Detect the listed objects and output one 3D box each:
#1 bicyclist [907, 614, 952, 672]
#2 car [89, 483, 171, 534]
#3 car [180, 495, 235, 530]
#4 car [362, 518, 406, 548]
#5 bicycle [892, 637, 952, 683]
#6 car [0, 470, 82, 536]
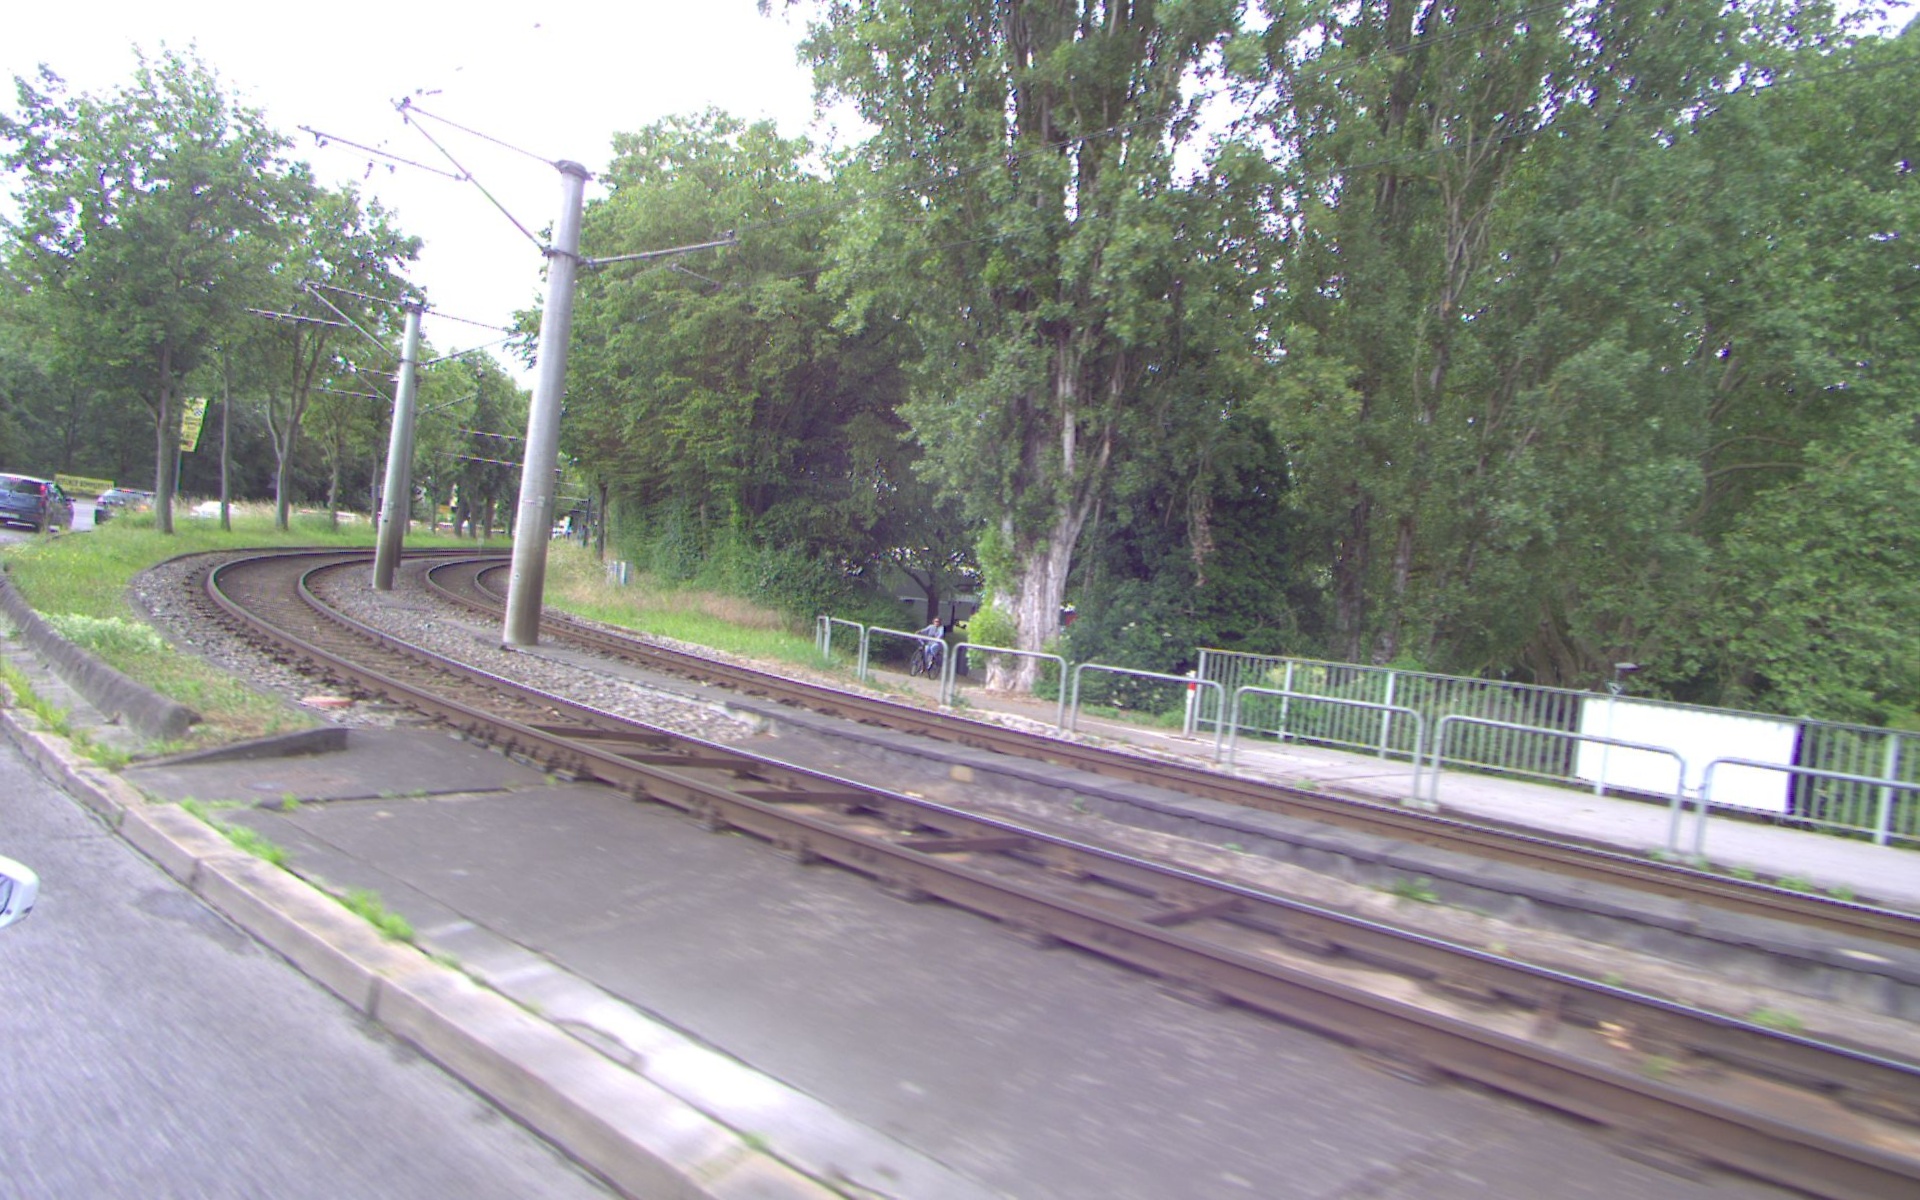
[{"bbox_3d":[-0.780,1.115,25.788,0.585,1.377,0.909,9,0,29],"label":"bicyclist"},{"bbox_3d":[-30.429,-3.321,36.982,1.566,1.557,3.968,7,0,-30],"label":"car"},{"bbox_3d":[-35.850,-4.135,47.994,1.488,1.381,3.561,7,0,-28],"label":"car"},{"bbox_3d":[-44.022,-5.106,76.966,1.906,1.883,3.984,7,0,-18],"label":"car"},{"bbox_3d":[-0.944,1.553,25.770,0.420,1.062,2.078,9,-1,28],"label":"bicycle"},{"bbox_3d":[-26.694,-2.771,28.627,1.881,1.592,3.964,8,-1,-33],"label":"car"}]
